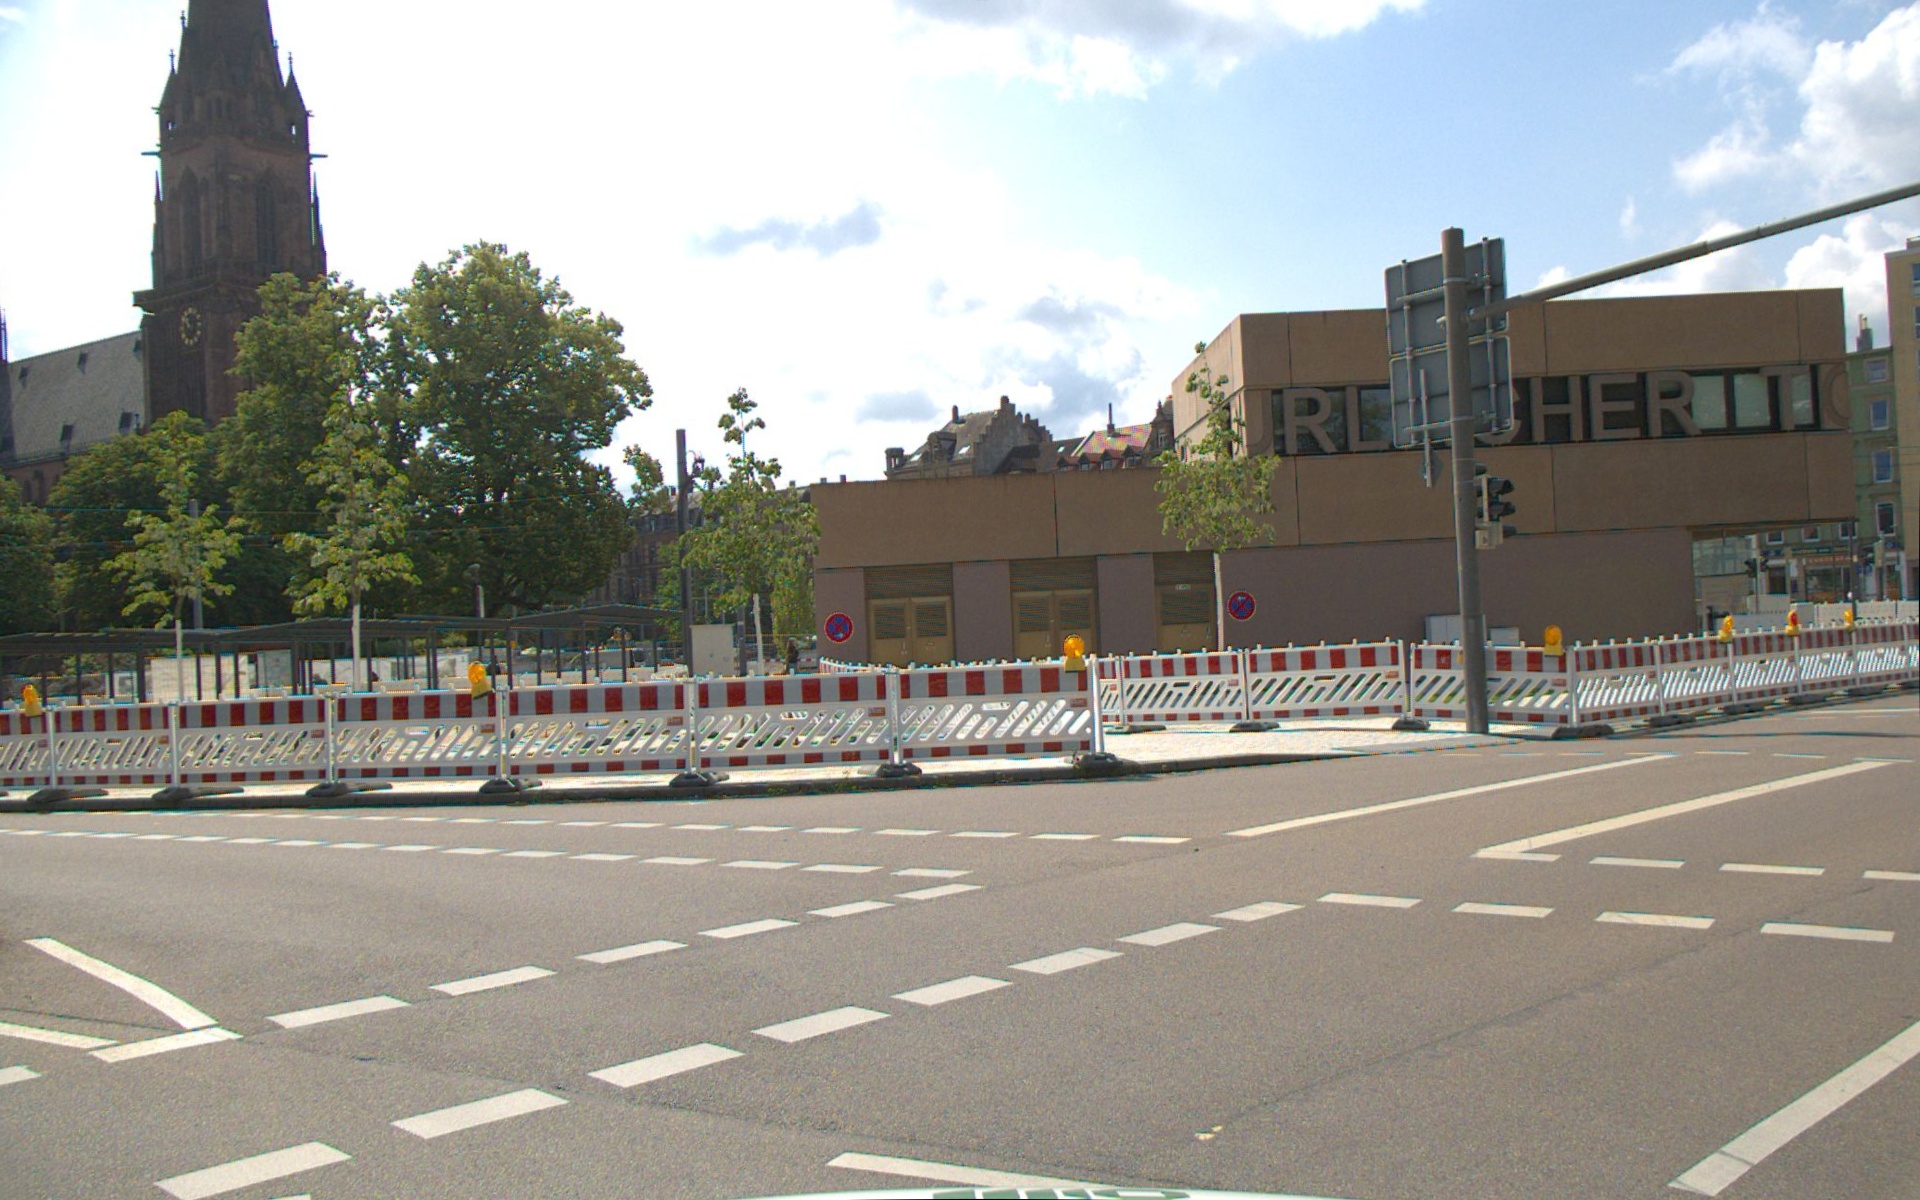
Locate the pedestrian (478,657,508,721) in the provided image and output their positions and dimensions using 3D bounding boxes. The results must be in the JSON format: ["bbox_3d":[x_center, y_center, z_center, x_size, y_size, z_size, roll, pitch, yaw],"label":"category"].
[{"bbox_3d":[-15.410,2.919,54.623,0.745,2.049,0.749,-2,-2,-4],"label":"pedestrian"}]

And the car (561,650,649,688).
[{"bbox_3d":[-19.319,3.742,90.030,4.265,1.825,1.785,-3,-1,7],"label":"car"}]

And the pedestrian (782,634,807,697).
[{"bbox_3d":[-5.471,2.159,54.599,0.686,2.049,0.555,-3,-2,-1],"label":"pedestrian"}]

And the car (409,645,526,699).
[{"bbox_3d":[-19.619,2.837,65.962,4.083,1.915,1.802,-3,-1,-2],"label":"car"}]

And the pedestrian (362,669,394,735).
[{"bbox_3d":[-18.659,3.264,53.035,0.745,2.049,0.749,-2,-2,-4],"label":"pedestrian"}]

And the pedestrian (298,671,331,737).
[{"bbox_3d":[-20.820,3.339,53.326,0.733,2.049,0.762,-2,-2,-5],"label":"pedestrian"}]
